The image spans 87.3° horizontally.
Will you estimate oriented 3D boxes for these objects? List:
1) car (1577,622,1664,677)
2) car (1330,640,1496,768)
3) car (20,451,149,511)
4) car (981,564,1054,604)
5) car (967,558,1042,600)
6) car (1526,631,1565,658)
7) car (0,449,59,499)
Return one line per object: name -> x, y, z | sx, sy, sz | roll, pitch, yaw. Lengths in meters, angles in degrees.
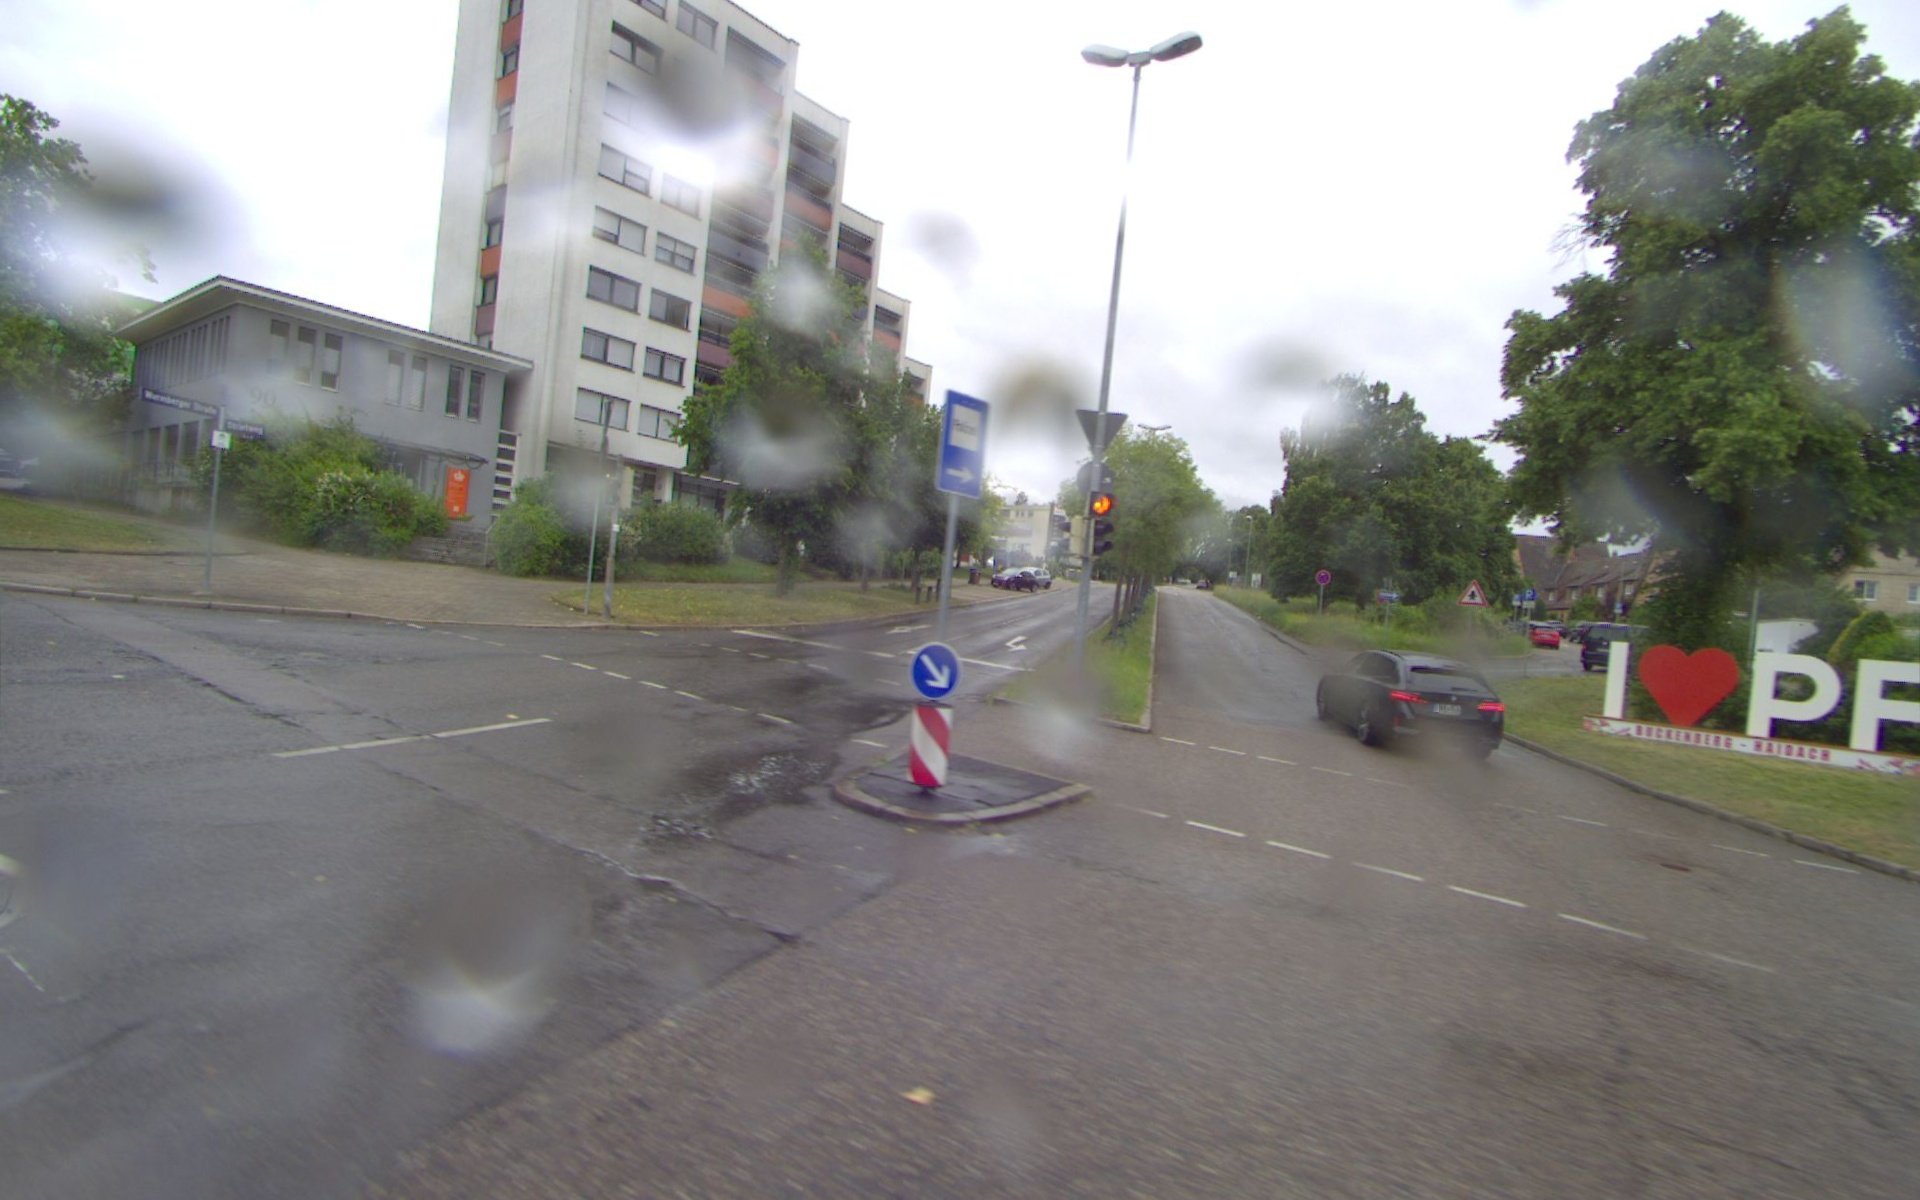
car -> 27.441, 2.081, 41.772 | 3.781, 1.865, 1.822 | 6, 2, -40
car -> 7.243, 1.581, 16.417 | 1.500, 1.553, 3.532 | 8, 1, 11
car -> -38.776, -5.239, 44.606 | 1.973, 1.836, 3.983 | 7, -2, 42
car -> 3.883, -1.095, 67.573 | 4.284, 2.037, 2.002 | 7, -1, 19
car -> 2.878, -1.333, 64.838 | 4.284, 2.037, 2.002 | 7, -1, 19
car -> 35.700, 2.715, 61.391 | 1.451, 1.332, 3.000 | 7, -2, 20
car -> -45.504, -6.141, 47.642 | 1.974, 1.953, 3.981 | 6, -2, 44
